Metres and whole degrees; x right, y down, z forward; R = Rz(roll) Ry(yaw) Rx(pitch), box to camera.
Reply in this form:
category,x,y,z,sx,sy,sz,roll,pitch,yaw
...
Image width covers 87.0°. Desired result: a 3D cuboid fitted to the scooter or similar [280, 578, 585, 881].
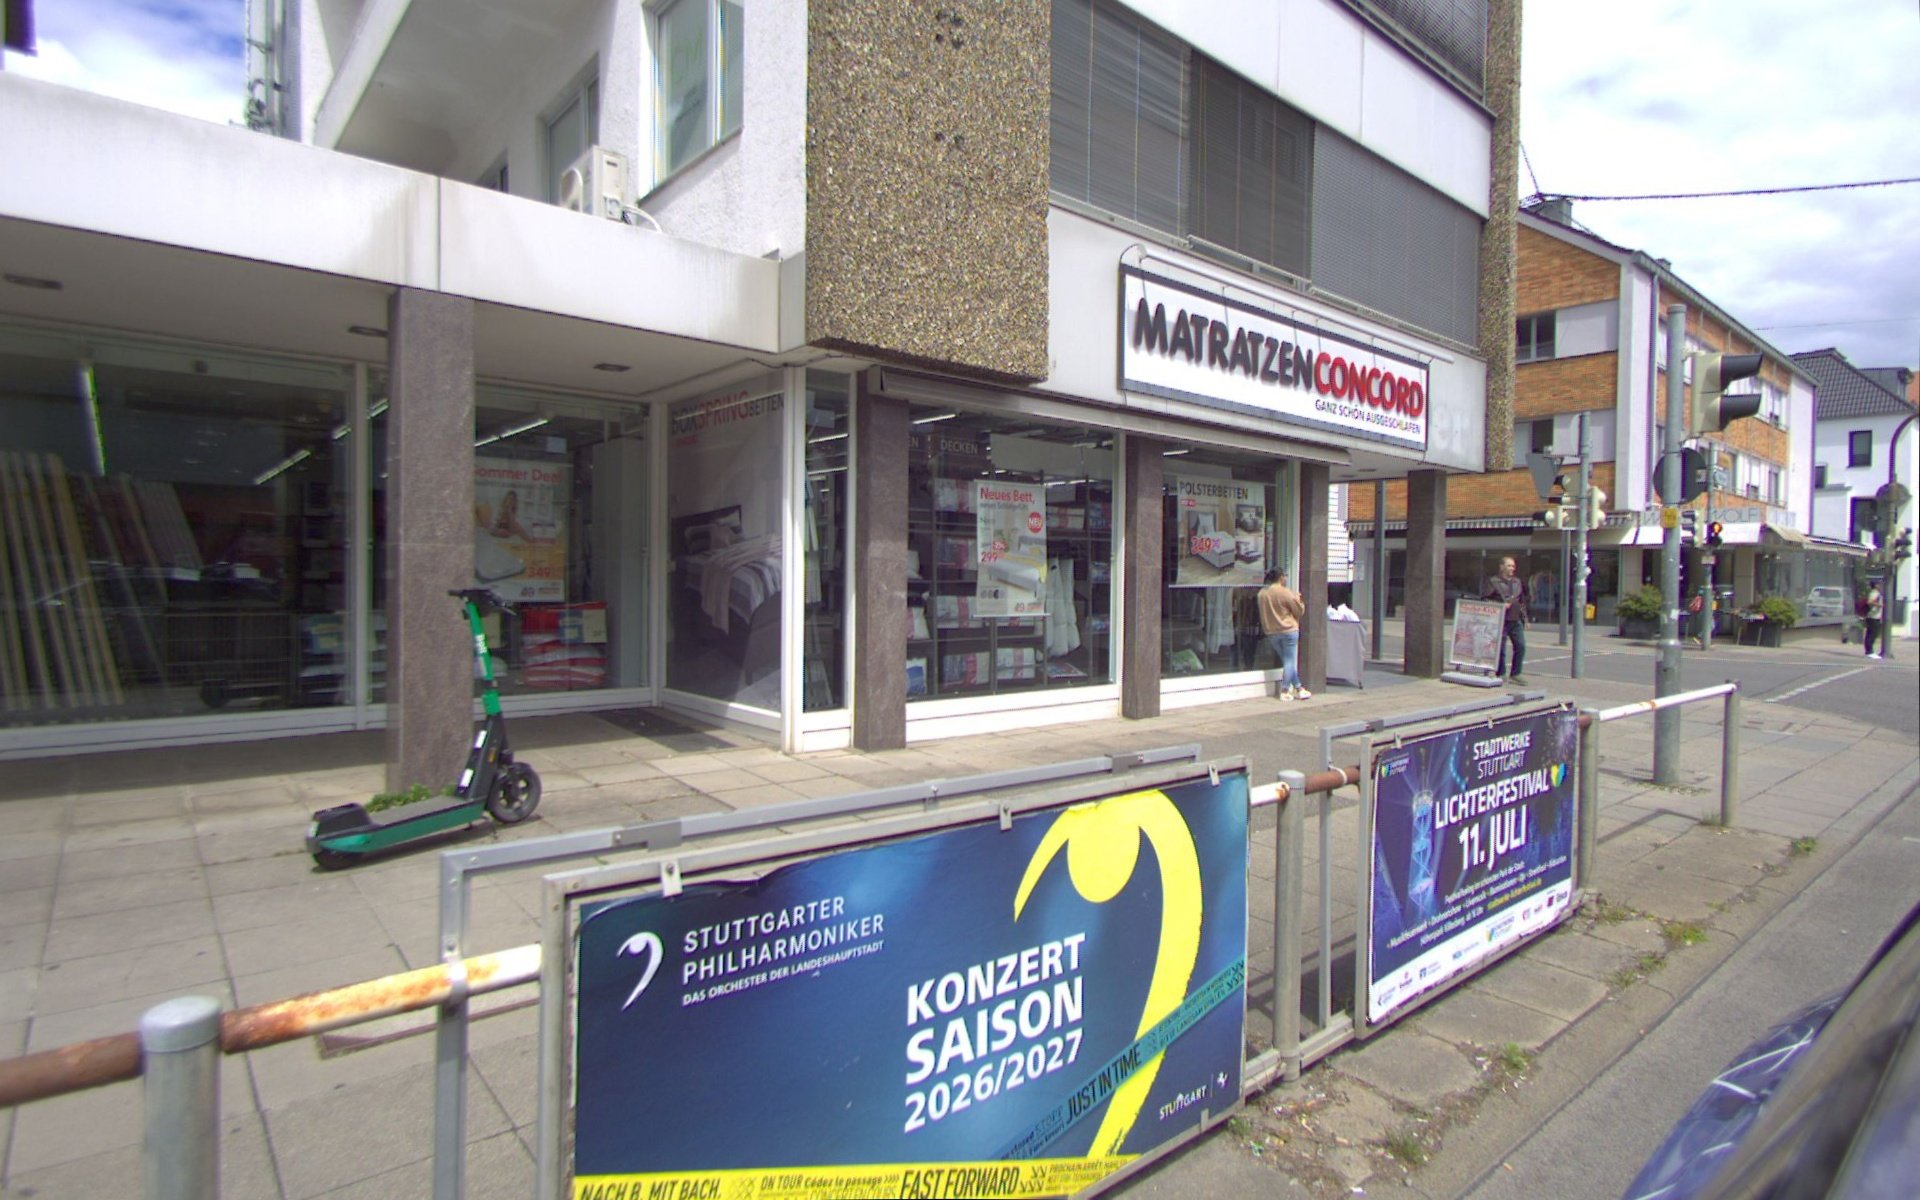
category,x,y,z,sx,sy,sz,roll,pitch,yaw
scooter or similar,-2.582,0.543,5.022,0.686,1.283,1.169,2,2,37

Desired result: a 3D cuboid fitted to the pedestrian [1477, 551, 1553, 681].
category,x,y,z,sx,sy,sz,roll,pitch,yaw
pedestrian,7.576,0.194,13.807,0.792,1.691,0.798,3,2,33

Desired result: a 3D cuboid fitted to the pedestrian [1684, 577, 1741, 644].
category,x,y,z,sx,sy,sz,roll,pitch,yaw
pedestrian,18.061,0.236,24.310,0.808,1.544,0.776,2,1,17

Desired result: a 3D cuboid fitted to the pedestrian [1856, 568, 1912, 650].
category,x,y,z,sx,sy,sz,roll,pitch,yaw
pedestrian,21.381,0.210,23.427,0.862,1.853,0.583,1,2,-24

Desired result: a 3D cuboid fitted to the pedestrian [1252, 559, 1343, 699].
category,x,y,z,sx,sy,sz,roll,pitch,yaw
pedestrian,3.814,0.300,11.450,0.707,1.517,0.681,0,1,-40
